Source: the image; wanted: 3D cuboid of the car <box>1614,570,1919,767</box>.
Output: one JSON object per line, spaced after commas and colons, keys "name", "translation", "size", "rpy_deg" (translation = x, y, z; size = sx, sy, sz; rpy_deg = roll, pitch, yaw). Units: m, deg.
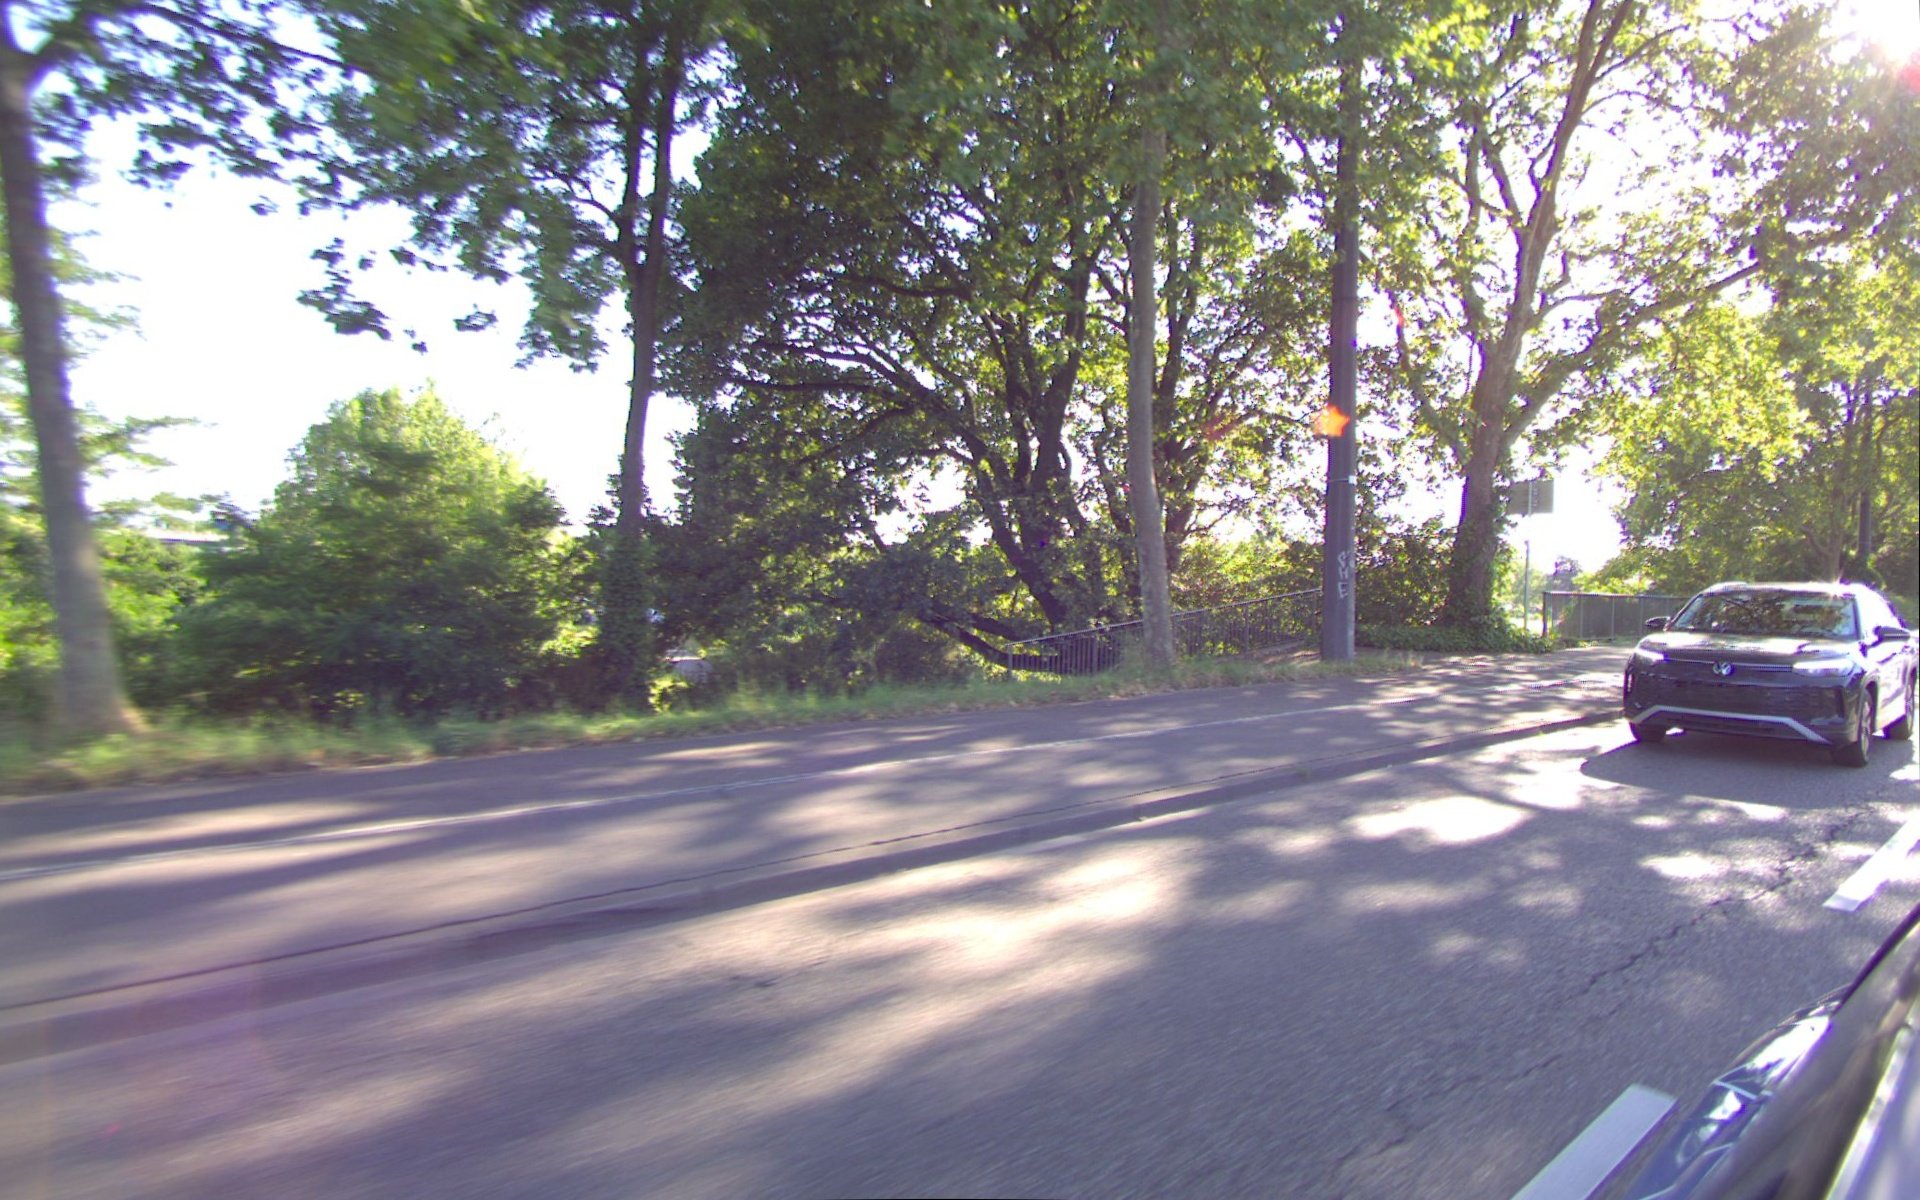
{"name": "car", "translation": [8.603, 0.519, 10.462], "size": [4.338, 1.620, 1.880], "rpy_deg": [-1, 2, -40]}
